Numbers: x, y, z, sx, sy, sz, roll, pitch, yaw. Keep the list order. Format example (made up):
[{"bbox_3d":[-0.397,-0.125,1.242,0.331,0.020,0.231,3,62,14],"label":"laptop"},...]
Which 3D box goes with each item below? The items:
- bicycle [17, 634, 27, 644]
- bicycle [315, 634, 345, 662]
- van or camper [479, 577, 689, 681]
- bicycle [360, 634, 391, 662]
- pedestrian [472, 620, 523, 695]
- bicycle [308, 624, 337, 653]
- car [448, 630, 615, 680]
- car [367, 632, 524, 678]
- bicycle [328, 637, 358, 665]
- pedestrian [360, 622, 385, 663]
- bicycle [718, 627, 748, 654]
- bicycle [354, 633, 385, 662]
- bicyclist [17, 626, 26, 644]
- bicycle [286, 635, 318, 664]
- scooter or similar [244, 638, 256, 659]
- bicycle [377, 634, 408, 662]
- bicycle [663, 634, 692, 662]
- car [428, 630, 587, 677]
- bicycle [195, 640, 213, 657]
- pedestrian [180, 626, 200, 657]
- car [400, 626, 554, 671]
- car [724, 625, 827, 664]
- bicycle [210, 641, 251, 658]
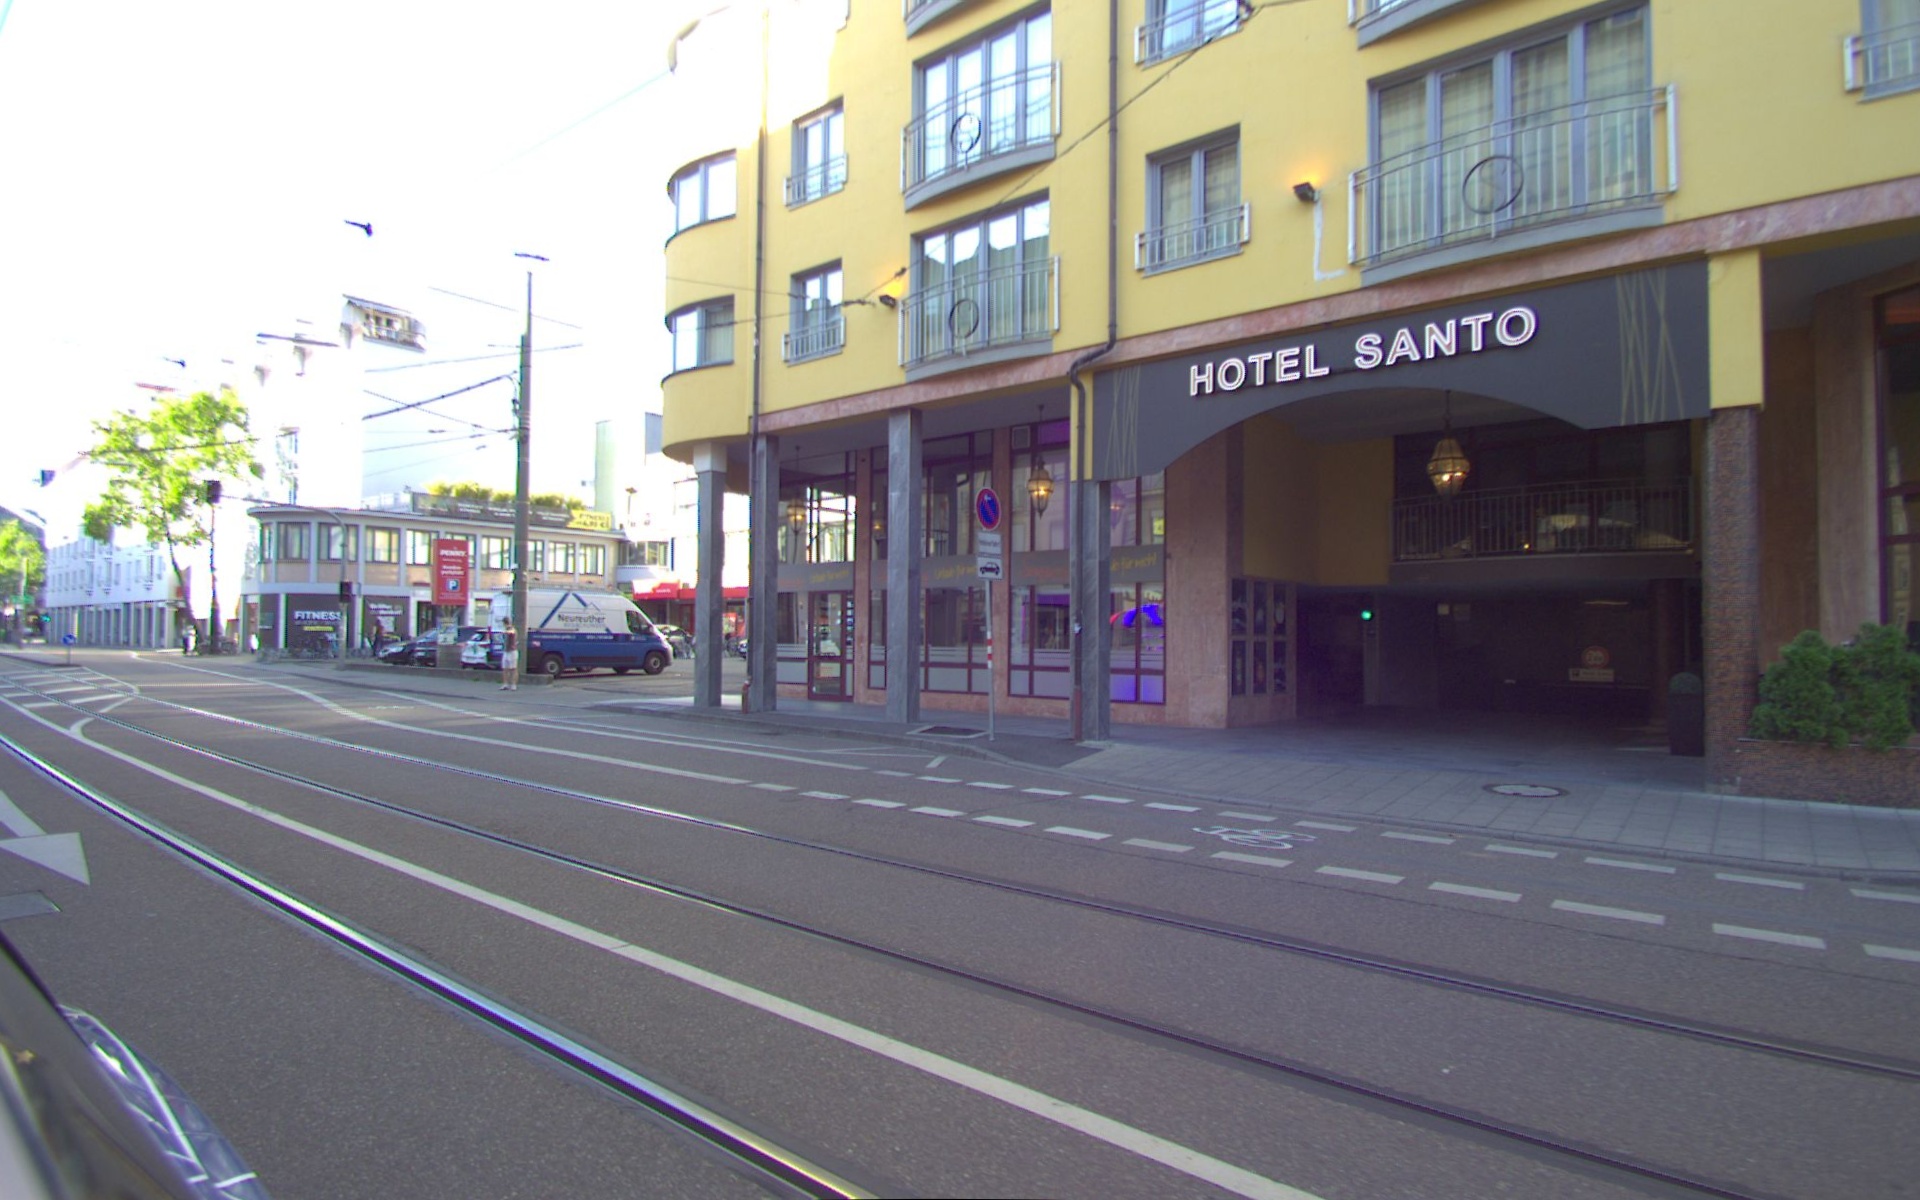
[{"bbox_3d":[-89.746,3.719,96.807,1.726,0.996,0.512,-1,-1,41],"label":"bicycle"},{"bbox_3d":[-26.868,2.050,43.174,1.828,1.196,0.444,-2,-4,37],"label":"bicycle"},{"bbox_3d":[-11.278,0.936,30.767,2.313,2.849,5.548,-2,-4,40],"label":"van or camper"},{"bbox_3d":[-25.240,2.062,43.709,1.828,1.196,0.444,-2,-4,37],"label":"bicycle"},{"bbox_3d":[-11.658,1.433,25.505,0.908,1.846,0.825,-2,-4,39],"label":"pedestrian"},{"bbox_3d":[-26.922,1.634,42.722,1.829,1.196,0.436,-2,-4,39],"label":"bicycle"},{"bbox_3d":[-13.518,1.734,32.170,1.878,1.487,4.541,-2,-4,40],"label":"car"},{"bbox_3d":[-18.987,2.027,37.560,1.878,1.595,4.844,-2,-4,40],"label":"car"},{"bbox_3d":[-26.507,2.185,43.463,1.828,1.196,0.439,-2,-4,37],"label":"bicycle"},{"bbox_3d":[-24.956,1.819,42.960,0.682,1.710,0.674,-2,-4,38],"label":"pedestrian"},{"bbox_3d":[-10.151,1.807,45.173,0.426,1.196,1.833,3,-3,-43],"label":"bicycle"},{"bbox_3d":[-25.127,2.009,43.078,1.828,1.196,0.444,-2,-4,37],"label":"bicycle"},{"bbox_3d":[-89.742,3.356,96.804,0.807,1.713,0.508,-1,-2,41],"label":"bicyclist"},{"bbox_3d":[-27.833,2.092,42.811,1.826,1.196,0.442,-2,-3,34],"label":"bicycle"},{"bbox_3d":[-38.927,2.646,55.498,0.330,1.120,1.183,2,-2,-27],"label":"scooter or similar"},{"bbox_3d":[-24.869,2.098,44.343,1.828,1.196,0.444,-2,-4,37],"label":"bicycle"},{"bbox_3d":[-12.388,2.088,44.375,0.426,1.196,1.833,3,-4,-43],"label":"bicycle"},{"bbox_3d":[-15.168,1.805,34.142,1.878,1.487,4.541,-2,-4,40],"label":"car"},{"bbox_3d":[-41.412,2.637,55.424,1.850,0.919,0.384,-1,-2,41],"label":"bicycle"},{"bbox_3d":[-42.358,2.290,55.698,0.621,1.729,0.828,1,-3,-23],"label":"pedestrian"},{"bbox_3d":[-17.041,1.722,35.876,1.878,1.487,4.541,-2,-4,40],"label":"car"},{"bbox_3d":[-7.647,1.841,42.212,1.997,1.519,3.950,-1,-3,37],"label":"car"},{"bbox_3d":[-40.501,2.751,56.203,0.389,0.919,1.824,-6,-5,45],"label":"bicycle"}]
